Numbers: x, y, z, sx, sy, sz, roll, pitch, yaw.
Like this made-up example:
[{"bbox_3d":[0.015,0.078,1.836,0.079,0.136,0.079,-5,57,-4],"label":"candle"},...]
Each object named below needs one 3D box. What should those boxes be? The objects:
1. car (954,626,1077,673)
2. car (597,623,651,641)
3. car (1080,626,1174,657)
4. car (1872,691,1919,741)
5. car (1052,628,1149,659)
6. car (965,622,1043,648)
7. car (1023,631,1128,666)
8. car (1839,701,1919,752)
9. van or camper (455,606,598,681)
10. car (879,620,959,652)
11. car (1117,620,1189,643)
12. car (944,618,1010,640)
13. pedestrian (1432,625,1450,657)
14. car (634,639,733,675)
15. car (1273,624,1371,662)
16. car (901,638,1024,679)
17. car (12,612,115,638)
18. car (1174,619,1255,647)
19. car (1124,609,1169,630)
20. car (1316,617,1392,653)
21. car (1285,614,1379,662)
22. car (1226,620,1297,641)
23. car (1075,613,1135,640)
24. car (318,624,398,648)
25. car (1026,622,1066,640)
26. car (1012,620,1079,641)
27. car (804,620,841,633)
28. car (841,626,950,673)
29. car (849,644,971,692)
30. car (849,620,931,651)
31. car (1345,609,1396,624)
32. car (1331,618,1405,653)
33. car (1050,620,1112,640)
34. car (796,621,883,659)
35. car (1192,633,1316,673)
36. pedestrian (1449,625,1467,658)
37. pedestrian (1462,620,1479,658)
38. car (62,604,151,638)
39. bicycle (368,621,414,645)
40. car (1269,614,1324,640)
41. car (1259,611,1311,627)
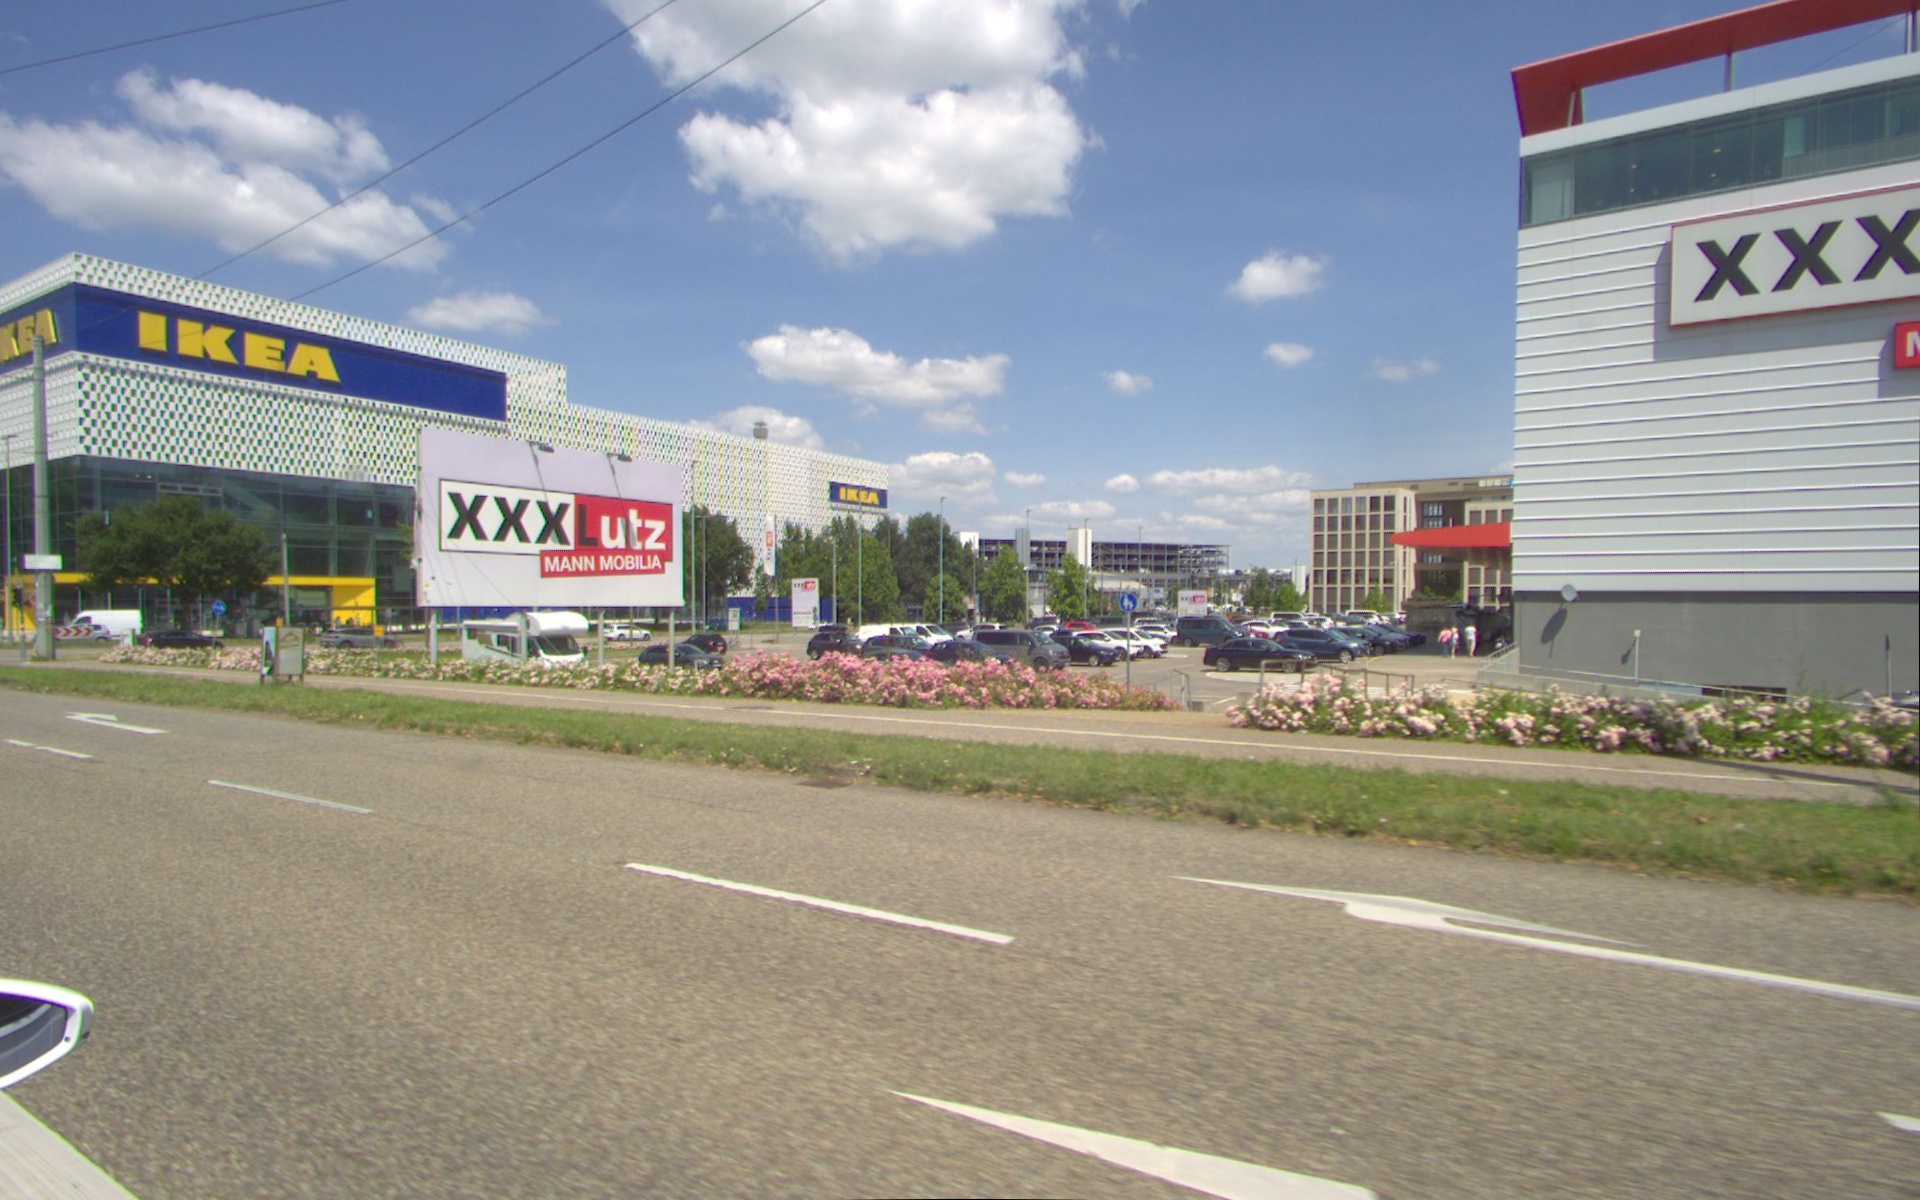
[{"bbox_3d":[2.526,2.256,46.476,5.456,2.039,1.990,0,-1,33],"label":"car"},{"bbox_3d":[-30.271,2.872,90.257,1.970,1.505,4.371,0,-2,31],"label":"car"},{"bbox_3d":[9.488,2.344,57.145,4.929,1.672,1.990,0,-1,33],"label":"car"},{"bbox_3d":[35.426,4.145,35.305,4.524,1.633,1.990,-1,-1,32],"label":"car"},{"bbox_3d":[7.697,2.365,54.979,4.929,1.631,1.990,0,-1,33],"label":"car"},{"bbox_3d":[2.910,2.332,67.365,4.929,1.631,1.990,0,-1,33],"label":"car"},{"bbox_3d":[5.806,2.420,50.469,4.929,1.631,1.990,0,-1,33],"label":"car"},{"bbox_3d":[31.346,4.103,32.202,4.288,1.416,1.991,-1,-1,31],"label":"car"},{"bbox_3d":[-19.116,1.847,43.995,7.129,3.059,2.499,-1,-1,36],"label":"van or camper"},{"bbox_3d":[-2.686,2.319,65.255,4.929,2.033,1.990,0,-1,33],"label":"car"},{"bbox_3d":[14.451,2.328,74.932,4.929,1.631,1.990,0,-1,33],"label":"car"},{"bbox_3d":[1.365,2.309,79.828,4.921,1.631,1.993,0,-1,27],"label":"car"},{"bbox_3d":[24.151,2.073,50.264,0.725,1.578,0.740,0,-1,30],"label":"pedestrian"},{"bbox_3d":[-13.411,2.714,48.513,4.701,1.558,1.989,0,0,33],"label":"car"},{"bbox_3d":[18.051,2.118,49.984,4.271,1.804,1.991,0,-2,33],"label":"car"},{"bbox_3d":[0.061,2.449,42.355,4.929,1.570,1.990,0,-1,33],"label":"car"},{"bbox_3d":[-56.635,1.581,63.332,1.973,1.505,4.486,0,-2,36],"label":"car"},{"bbox_3d":[17.558,2.273,69.165,5.106,1.889,1.991,0,-1,31],"label":"car"},{"bbox_3d":[18.601,1.989,99.831,3.943,2.040,1.990,-1,-1,32],"label":"car"},{"bbox_3d":[23.385,2.070,59.441,3.943,2.039,1.990,0,-1,32],"label":"car"},{"bbox_3d":[19.401,1.964,52.291,4.271,2.357,1.990,0,-2,33],"label":"car"},{"bbox_3d":[23.293,2.341,77.358,4.929,1.631,1.990,0,-1,33],"label":"car"},{"bbox_3d":[13.019,2.363,90.126,4.929,2.333,1.990,0,-1,33],"label":"car"},{"bbox_3d":[-40.028,2.435,66.665,1.972,1.505,4.125,0,-2,33],"label":"car"},{"bbox_3d":[9.413,3.424,109.807,3.942,1.864,1.818,0,0,32],"label":"car"},{"bbox_3d":[6.785,2.409,79.573,4.929,1.631,1.990,0,-1,33],"label":"car"},{"bbox_3d":[-16.992,3.325,123.868,1.973,1.505,4.486,0,-2,36],"label":"car"},{"bbox_3d":[-3.084,2.304,47.426,4.929,2.040,1.989,0,1,33],"label":"car"},{"bbox_3d":[-1.923,2.552,38.188,4.241,1.517,1.988,0,2,33],"label":"car"},{"bbox_3d":[-4.442,2.196,63.322,4.929,1.876,1.990,0,-1,33],"label":"car"},{"bbox_3d":[44.927,1.811,109.686,4.929,1.631,1.990,0,-1,33],"label":"car"},{"bbox_3d":[25.040,2.160,61.484,3.943,2.040,1.990,-1,-1,32],"label":"car"},{"bbox_3d":[10.359,2.590,86.044,4.929,1.631,1.990,0,-1,33],"label":"car"},{"bbox_3d":[-7.148,2.315,59.210,4.929,2.162,1.990,0,-1,33],"label":"car"},{"bbox_3d":[12.889,2.298,44.002,4.929,1.631,1.990,0,-1,33],"label":"car"},{"bbox_3d":[24.518,2.042,49.298,0.725,1.578,0.740,0,-1,30],"label":"pedestrian"},{"bbox_3d":[25.471,1.949,49.939,0.725,1.893,0.740,0,-1,30],"label":"pedestrian"},{"bbox_3d":[-60.537,1.487,71.099,4.725,2.338,1.982,1,-1,-41],"label":"car"},{"bbox_3d":[-36.880,2.144,64.881,0.976,1.500,2.415,0,-1,36],"label":"bicycle"},{"bbox_3d":[27.497,2.218,81.949,3.943,2.040,1.990,-1,-1,32],"label":"car"},{"bbox_3d":[34.117,1.986,105.167,4.929,1.631,1.990,0,-1,33],"label":"car"}]
